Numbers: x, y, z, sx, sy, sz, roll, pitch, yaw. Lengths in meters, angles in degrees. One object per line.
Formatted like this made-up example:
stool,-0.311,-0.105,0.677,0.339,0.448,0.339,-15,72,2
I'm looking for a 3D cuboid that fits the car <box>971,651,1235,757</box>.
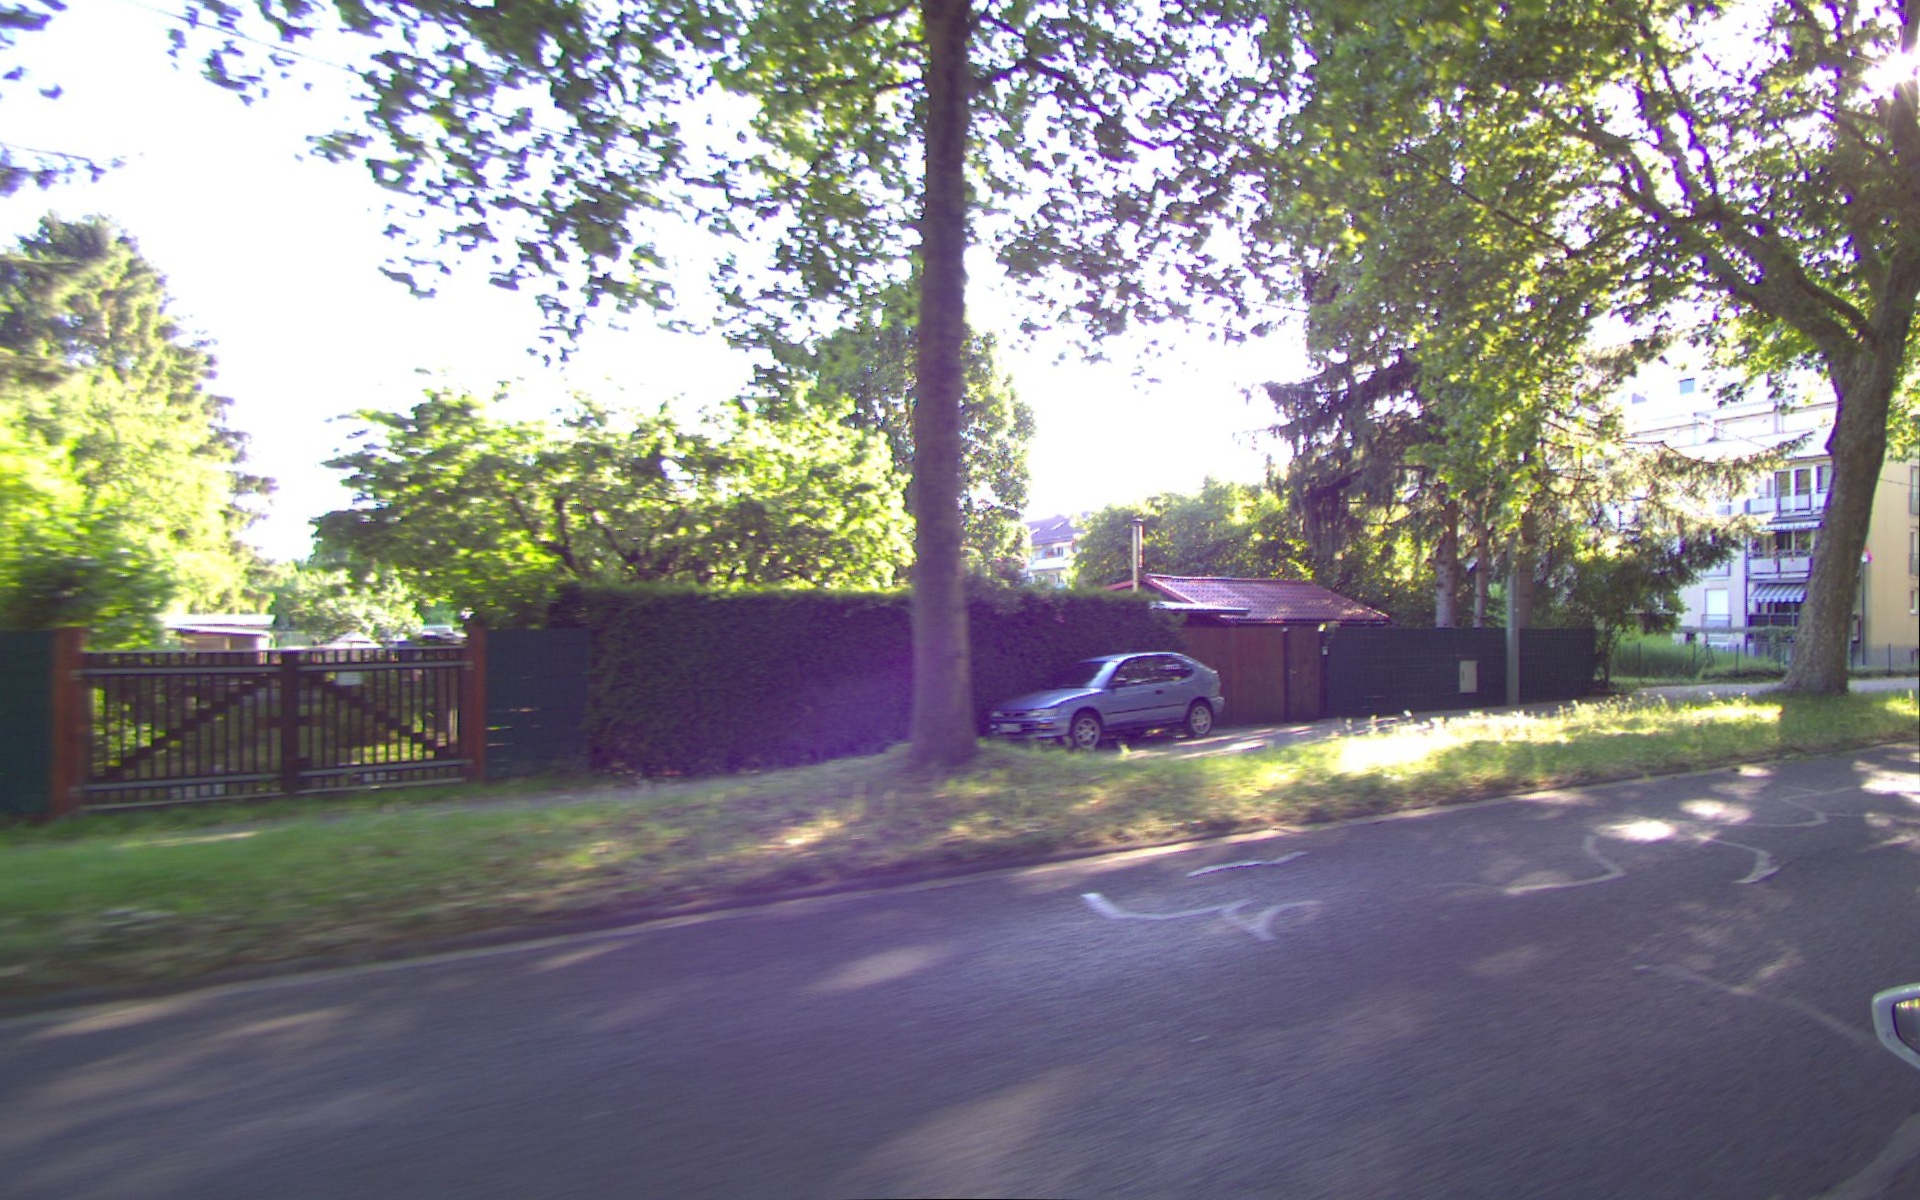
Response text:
car,2.288,1.526,15.744,3.958,1.321,1.741,0,-1,-34
